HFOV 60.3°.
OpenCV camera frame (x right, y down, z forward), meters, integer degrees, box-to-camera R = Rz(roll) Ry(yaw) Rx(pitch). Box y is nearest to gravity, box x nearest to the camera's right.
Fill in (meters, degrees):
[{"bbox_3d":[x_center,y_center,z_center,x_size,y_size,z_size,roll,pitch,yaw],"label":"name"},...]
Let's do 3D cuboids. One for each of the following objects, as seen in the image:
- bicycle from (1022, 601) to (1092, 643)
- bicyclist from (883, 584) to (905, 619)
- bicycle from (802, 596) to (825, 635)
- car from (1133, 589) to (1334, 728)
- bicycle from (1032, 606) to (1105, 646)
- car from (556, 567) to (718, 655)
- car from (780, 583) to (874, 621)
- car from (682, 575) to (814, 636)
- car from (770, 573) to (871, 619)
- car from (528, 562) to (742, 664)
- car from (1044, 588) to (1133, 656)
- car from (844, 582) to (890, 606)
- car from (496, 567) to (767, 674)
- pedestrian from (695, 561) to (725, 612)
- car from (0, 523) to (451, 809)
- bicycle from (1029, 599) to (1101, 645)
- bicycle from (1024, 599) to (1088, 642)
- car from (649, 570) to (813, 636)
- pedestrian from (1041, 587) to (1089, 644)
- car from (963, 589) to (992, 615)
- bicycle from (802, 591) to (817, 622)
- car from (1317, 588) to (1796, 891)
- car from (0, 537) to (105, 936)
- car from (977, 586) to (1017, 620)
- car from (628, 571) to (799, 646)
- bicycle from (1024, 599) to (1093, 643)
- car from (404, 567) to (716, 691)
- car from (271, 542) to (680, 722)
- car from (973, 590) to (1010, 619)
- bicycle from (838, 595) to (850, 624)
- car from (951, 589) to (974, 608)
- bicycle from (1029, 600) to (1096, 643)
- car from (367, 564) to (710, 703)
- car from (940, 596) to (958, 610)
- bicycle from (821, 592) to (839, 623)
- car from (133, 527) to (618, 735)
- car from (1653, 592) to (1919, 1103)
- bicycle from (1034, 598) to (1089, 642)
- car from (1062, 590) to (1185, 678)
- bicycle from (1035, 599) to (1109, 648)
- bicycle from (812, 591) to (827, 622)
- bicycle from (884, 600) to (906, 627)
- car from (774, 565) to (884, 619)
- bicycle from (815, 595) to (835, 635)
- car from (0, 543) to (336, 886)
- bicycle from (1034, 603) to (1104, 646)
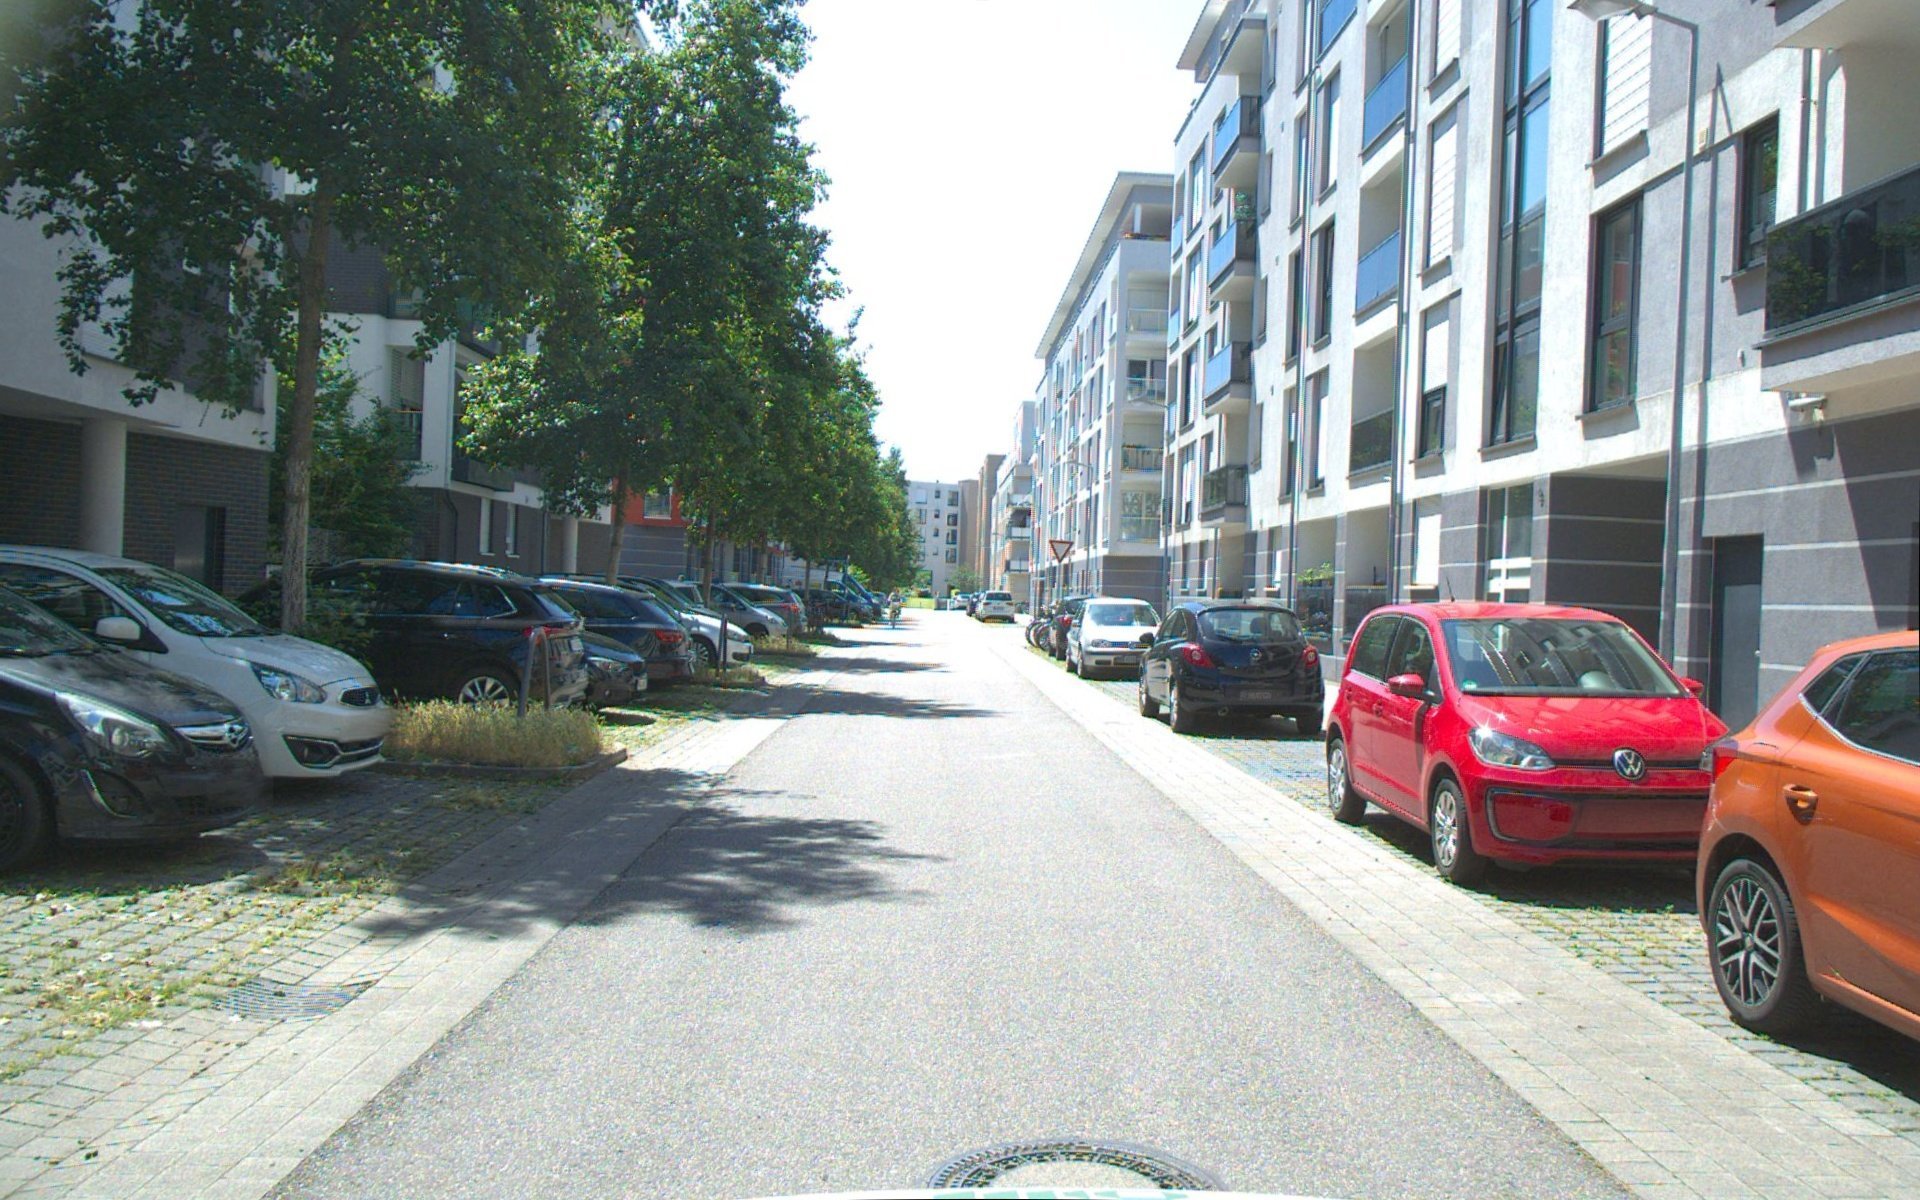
[{"bbox_3d":[2.714,0.612,46.300,1.882,1.153,0.609,1,0,8],"label":"bicycle"},{"bbox_3d":[-2.880,0.051,72.534,0.934,1.485,0.799,2,0,-2],"label":"bicyclist"},{"bbox_3d":[-4.529,0.465,51.041,0.426,1.147,1.972,1,0,-13],"label":"bicycle"},{"bbox_3d":[3.147,0.613,19.793,1.609,1.488,4.116,0,0,-2],"label":"car"},{"bbox_3d":[2.923,0.690,44.694,1.886,1.053,0.559,1,0,-5],"label":"bicycle"},{"bbox_3d":[-6.489,0.209,33.523,2.874,1.526,1.847,4,0,-3],"label":"car"},{"bbox_3d":[-6.383,0.089,79.631,4.295,1.541,2.075,4,0,-1],"label":"car"},{"bbox_3d":[-6.179,0.161,48.509,3.557,1.547,1.831,3,0,-1],"label":"car"},{"bbox_3d":[-7.274,-0.223,86.795,5.041,2.156,2.311,3,0,-2],"label":"car"},{"bbox_3d":[-5.933,0.229,30.534,3.637,1.613,1.818,4,0,-7],"label":"car"},{"bbox_3d":[3.015,0.481,39.609,1.703,1.511,4.228,1,0,-1],"label":"car"},{"bbox_3d":[-8.498,-0.540,151.042,3.903,2.049,2.001,2,0,5],"label":"car"},{"bbox_3d":[-5.492,0.326,28.130,4.274,1.740,1.999,0,0,-4],"label":"car"},{"bbox_3d":[-10.323,-0.548,68.378,0.988,2.049,1.129,1,0,2],"label":"pedestrian"},{"bbox_3d":[-5.677,0.346,11.027,3.906,1.619,1.883,3,0,-1],"label":"car"},{"bbox_3d":[2.877,0.610,45.354,1.888,1.239,0.459,1,0,-11],"label":"bicycle"},{"bbox_3d":[2.791,0.586,48.299,1.821,1.214,0.687,1,0,2],"label":"bicycle"},{"bbox_3d":[-5.974,0.089,43.599,4.099,1.512,1.957,3,-1,-5],"label":"car"},{"bbox_3d":[2.880,0.414,45.482,1.157,1.541,0.686,1,0,-11],"label":"pedestrian"},{"bbox_3d":[1.173,0.130,107.122,1.721,1.579,4.001,2,0,2],"label":"car"},{"bbox_3d":[-6.356,0.249,69.769,0.508,1.225,1.751,3,1,-3],"label":"bicycle"},{"bbox_3d":[3.391,0.685,10.139,1.563,1.511,3.675,0,0,-1],"label":"car"},{"bbox_3d":[-5.750,0.384,6.018,4.167,1.544,1.924,4,0,-2],"label":"car"},{"bbox_3d":[1.939,0.138,87.029,1.956,1.686,4.114,1,0,-1],"label":"car"},{"bbox_3d":[-6.013,0.209,40.698,3.858,1.580,1.872,3,0,-2],"label":"car"},{"bbox_3d":[2.798,0.596,46.907,1.882,1.200,0.639,1,0,8],"label":"bicycle"},{"bbox_3d":[-5.611,0.384,23.588,3.906,1.447,1.897,4,0,-1],"label":"car"},{"bbox_3d":[-5.298,0.335,18.473,3.905,1.679,1.918,3,0,0],"label":"car"},{"bbox_3d":[1.741,0.223,92.726,1.953,1.551,3.999,1,0,-1],"label":"car"},{"bbox_3d":[-4.900,0.393,69.765,0.456,1.161,1.925,2,0,-3],"label":"bicycle"},{"bbox_3d":[0.256,-0.126,155.657,1.954,1.704,3.998,2,0,-2],"label":"car"},{"bbox_3d":[2.853,0.590,45.938,1.807,1.168,0.458,1,0,-21],"label":"bicycle"},{"bbox_3d":[-5.235,0.406,20.985,3.897,1.470,1.773,3,0,-5],"label":"car"},{"bbox_3d":[-1.350,0.320,196.912,1.953,1.545,3.998,2,0,-2],"label":"car"},{"bbox_3d":[-5.473,0.321,69.531,0.559,1.194,1.765,5,1,-8],"label":"bicycle"},{"bbox_3d":[-5.486,0.276,15.943,3.907,1.657,1.933,3,0,-2],"label":"car"},{"bbox_3d":[3.712,0.746,4.611,1.702,1.513,4.257,1,0,-1],"label":"car"},{"bbox_3d":[2.913,0.581,47.592,1.519,1.239,0.707,1,0,-3],"label":"bicycle"},{"bbox_3d":[3.013,0.584,31.290,1.797,1.531,4.349,0,0,-1],"label":"car"},{"bbox_3d":[2.915,0.616,43.252,1.833,1.239,0.715,1,0,-5],"label":"bicycle"},{"bbox_3d":[-5.896,0.276,69.527,0.425,1.225,1.700,3,1,0],"label":"bicycle"},{"bbox_3d":[-2.848,0.587,72.595,0.880,1.149,2.039,2,0,-2],"label":"bicycle"},{"bbox_3d":[-7.255,-0.456,92.227,5.902,2.865,2.604,1,0,-1],"label":"car"},{"bbox_3d":[-4.176,0.446,51.078,0.364,1.201,1.815,1,0,-13],"label":"bicycle"},{"bbox_3d":[-5.680,0.424,8.441,4.230,1.501,1.792,4,0,-2],"label":"car"},{"bbox_3d":[2.889,0.646,43.999,1.751,1.123,0.746,1,0,-5],"label":"bicycle"}]
